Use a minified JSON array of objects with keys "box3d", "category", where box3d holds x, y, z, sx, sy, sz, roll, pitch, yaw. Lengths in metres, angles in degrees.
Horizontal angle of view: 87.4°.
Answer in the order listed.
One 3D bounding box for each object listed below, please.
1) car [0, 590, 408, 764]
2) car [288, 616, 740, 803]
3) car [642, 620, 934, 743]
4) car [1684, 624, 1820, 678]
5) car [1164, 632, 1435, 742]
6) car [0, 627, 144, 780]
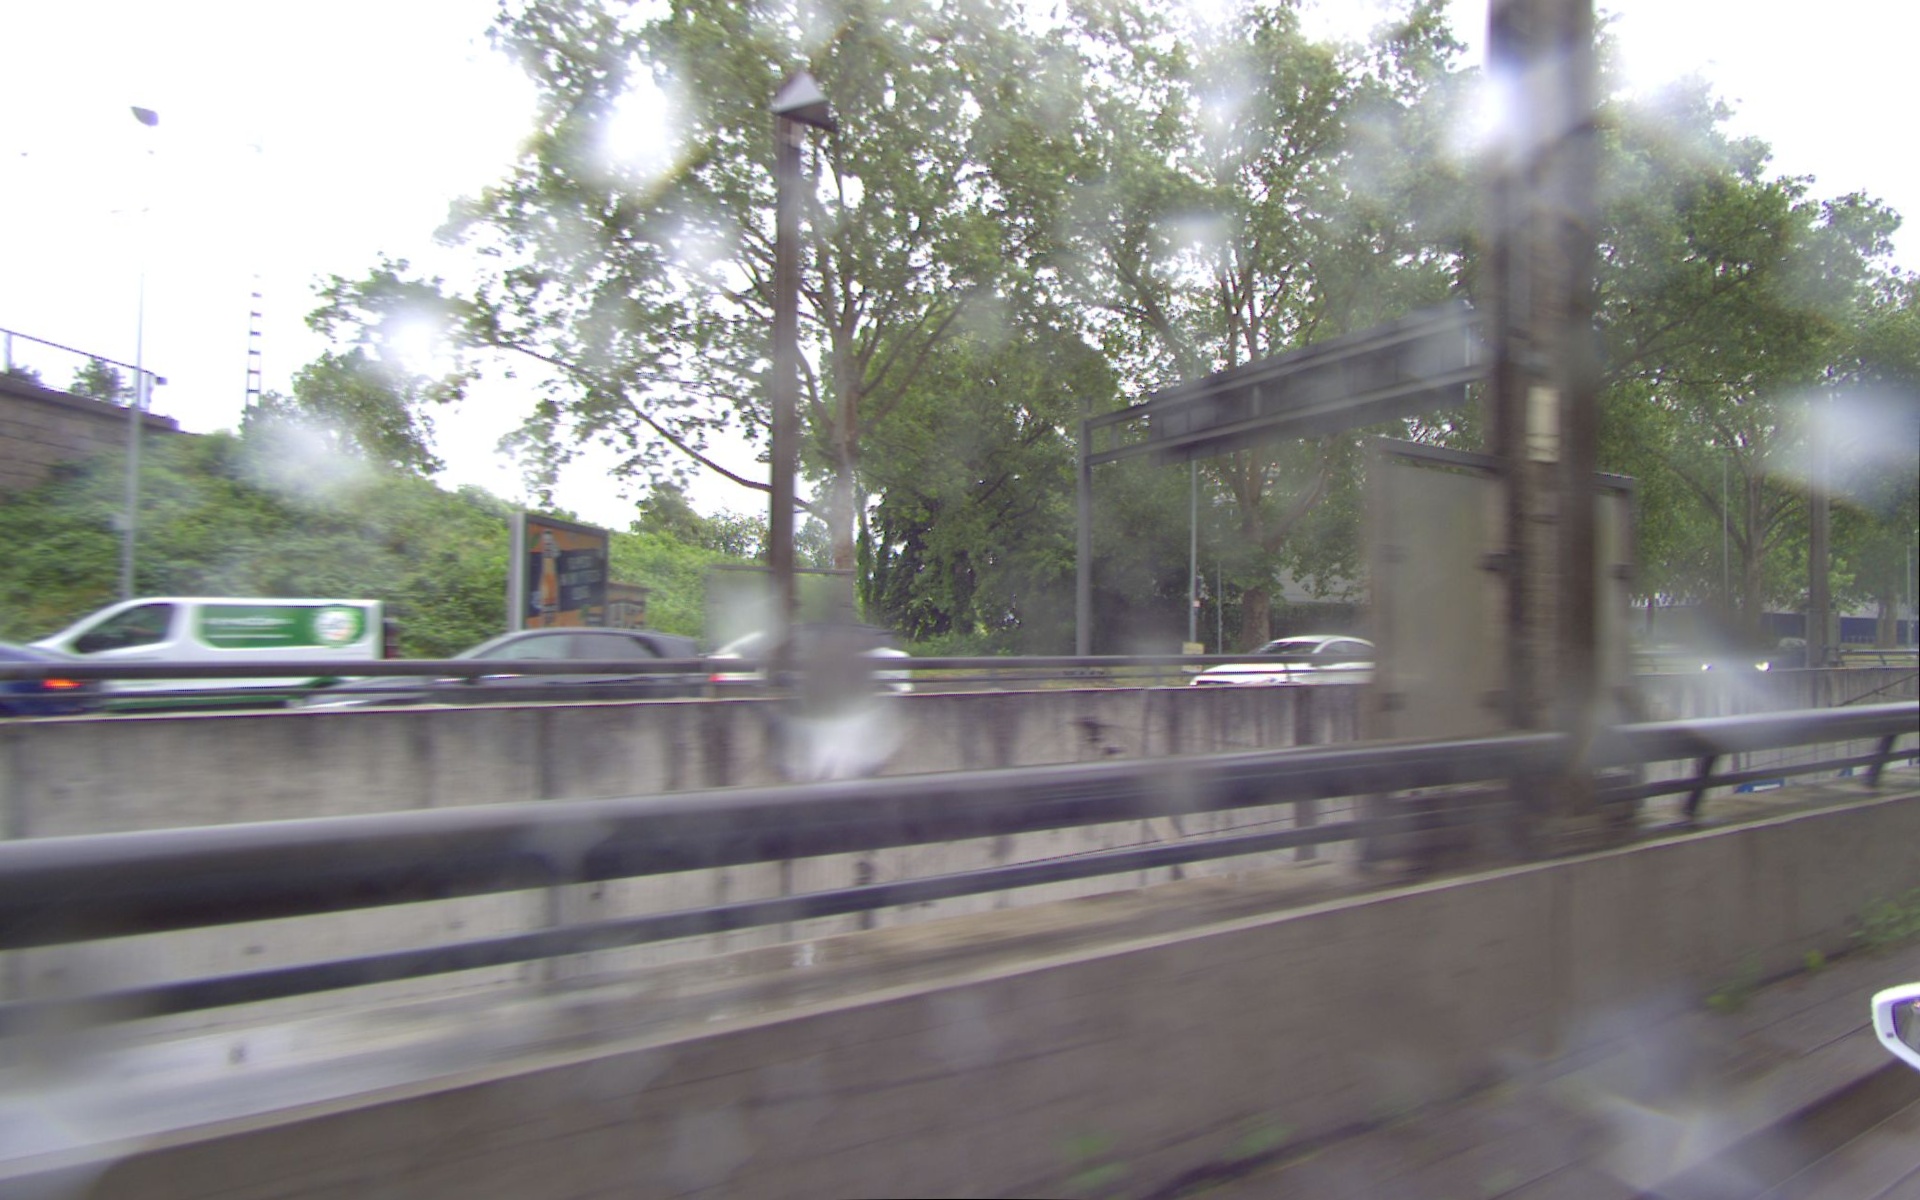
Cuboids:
[{"box3d":[-10.760,1.059,14.541,4.792,2.198,1.745,2,-2,-31],"category":"car"},{"box3d":[-4.620,1.048,10.745,4.039,1.654,1.985,2,-2,-29],"category":"car"},{"box3d":[-2.608,1.182,15.389,4.039,1.654,1.839,2,-2,-29],"category":"car"},{"box3d":[24.815,1.564,31.471,3.948,1.592,1.901,1,-2,-27],"category":"car"},{"box3d":[5.856,1.409,17.194,4.528,1.654,1.983,2,-2,-32],"category":"car"},{"box3d":[-11.793,1.069,10.697,4.497,1.594,1.970,2,-2,-30],"category":"car"}]
